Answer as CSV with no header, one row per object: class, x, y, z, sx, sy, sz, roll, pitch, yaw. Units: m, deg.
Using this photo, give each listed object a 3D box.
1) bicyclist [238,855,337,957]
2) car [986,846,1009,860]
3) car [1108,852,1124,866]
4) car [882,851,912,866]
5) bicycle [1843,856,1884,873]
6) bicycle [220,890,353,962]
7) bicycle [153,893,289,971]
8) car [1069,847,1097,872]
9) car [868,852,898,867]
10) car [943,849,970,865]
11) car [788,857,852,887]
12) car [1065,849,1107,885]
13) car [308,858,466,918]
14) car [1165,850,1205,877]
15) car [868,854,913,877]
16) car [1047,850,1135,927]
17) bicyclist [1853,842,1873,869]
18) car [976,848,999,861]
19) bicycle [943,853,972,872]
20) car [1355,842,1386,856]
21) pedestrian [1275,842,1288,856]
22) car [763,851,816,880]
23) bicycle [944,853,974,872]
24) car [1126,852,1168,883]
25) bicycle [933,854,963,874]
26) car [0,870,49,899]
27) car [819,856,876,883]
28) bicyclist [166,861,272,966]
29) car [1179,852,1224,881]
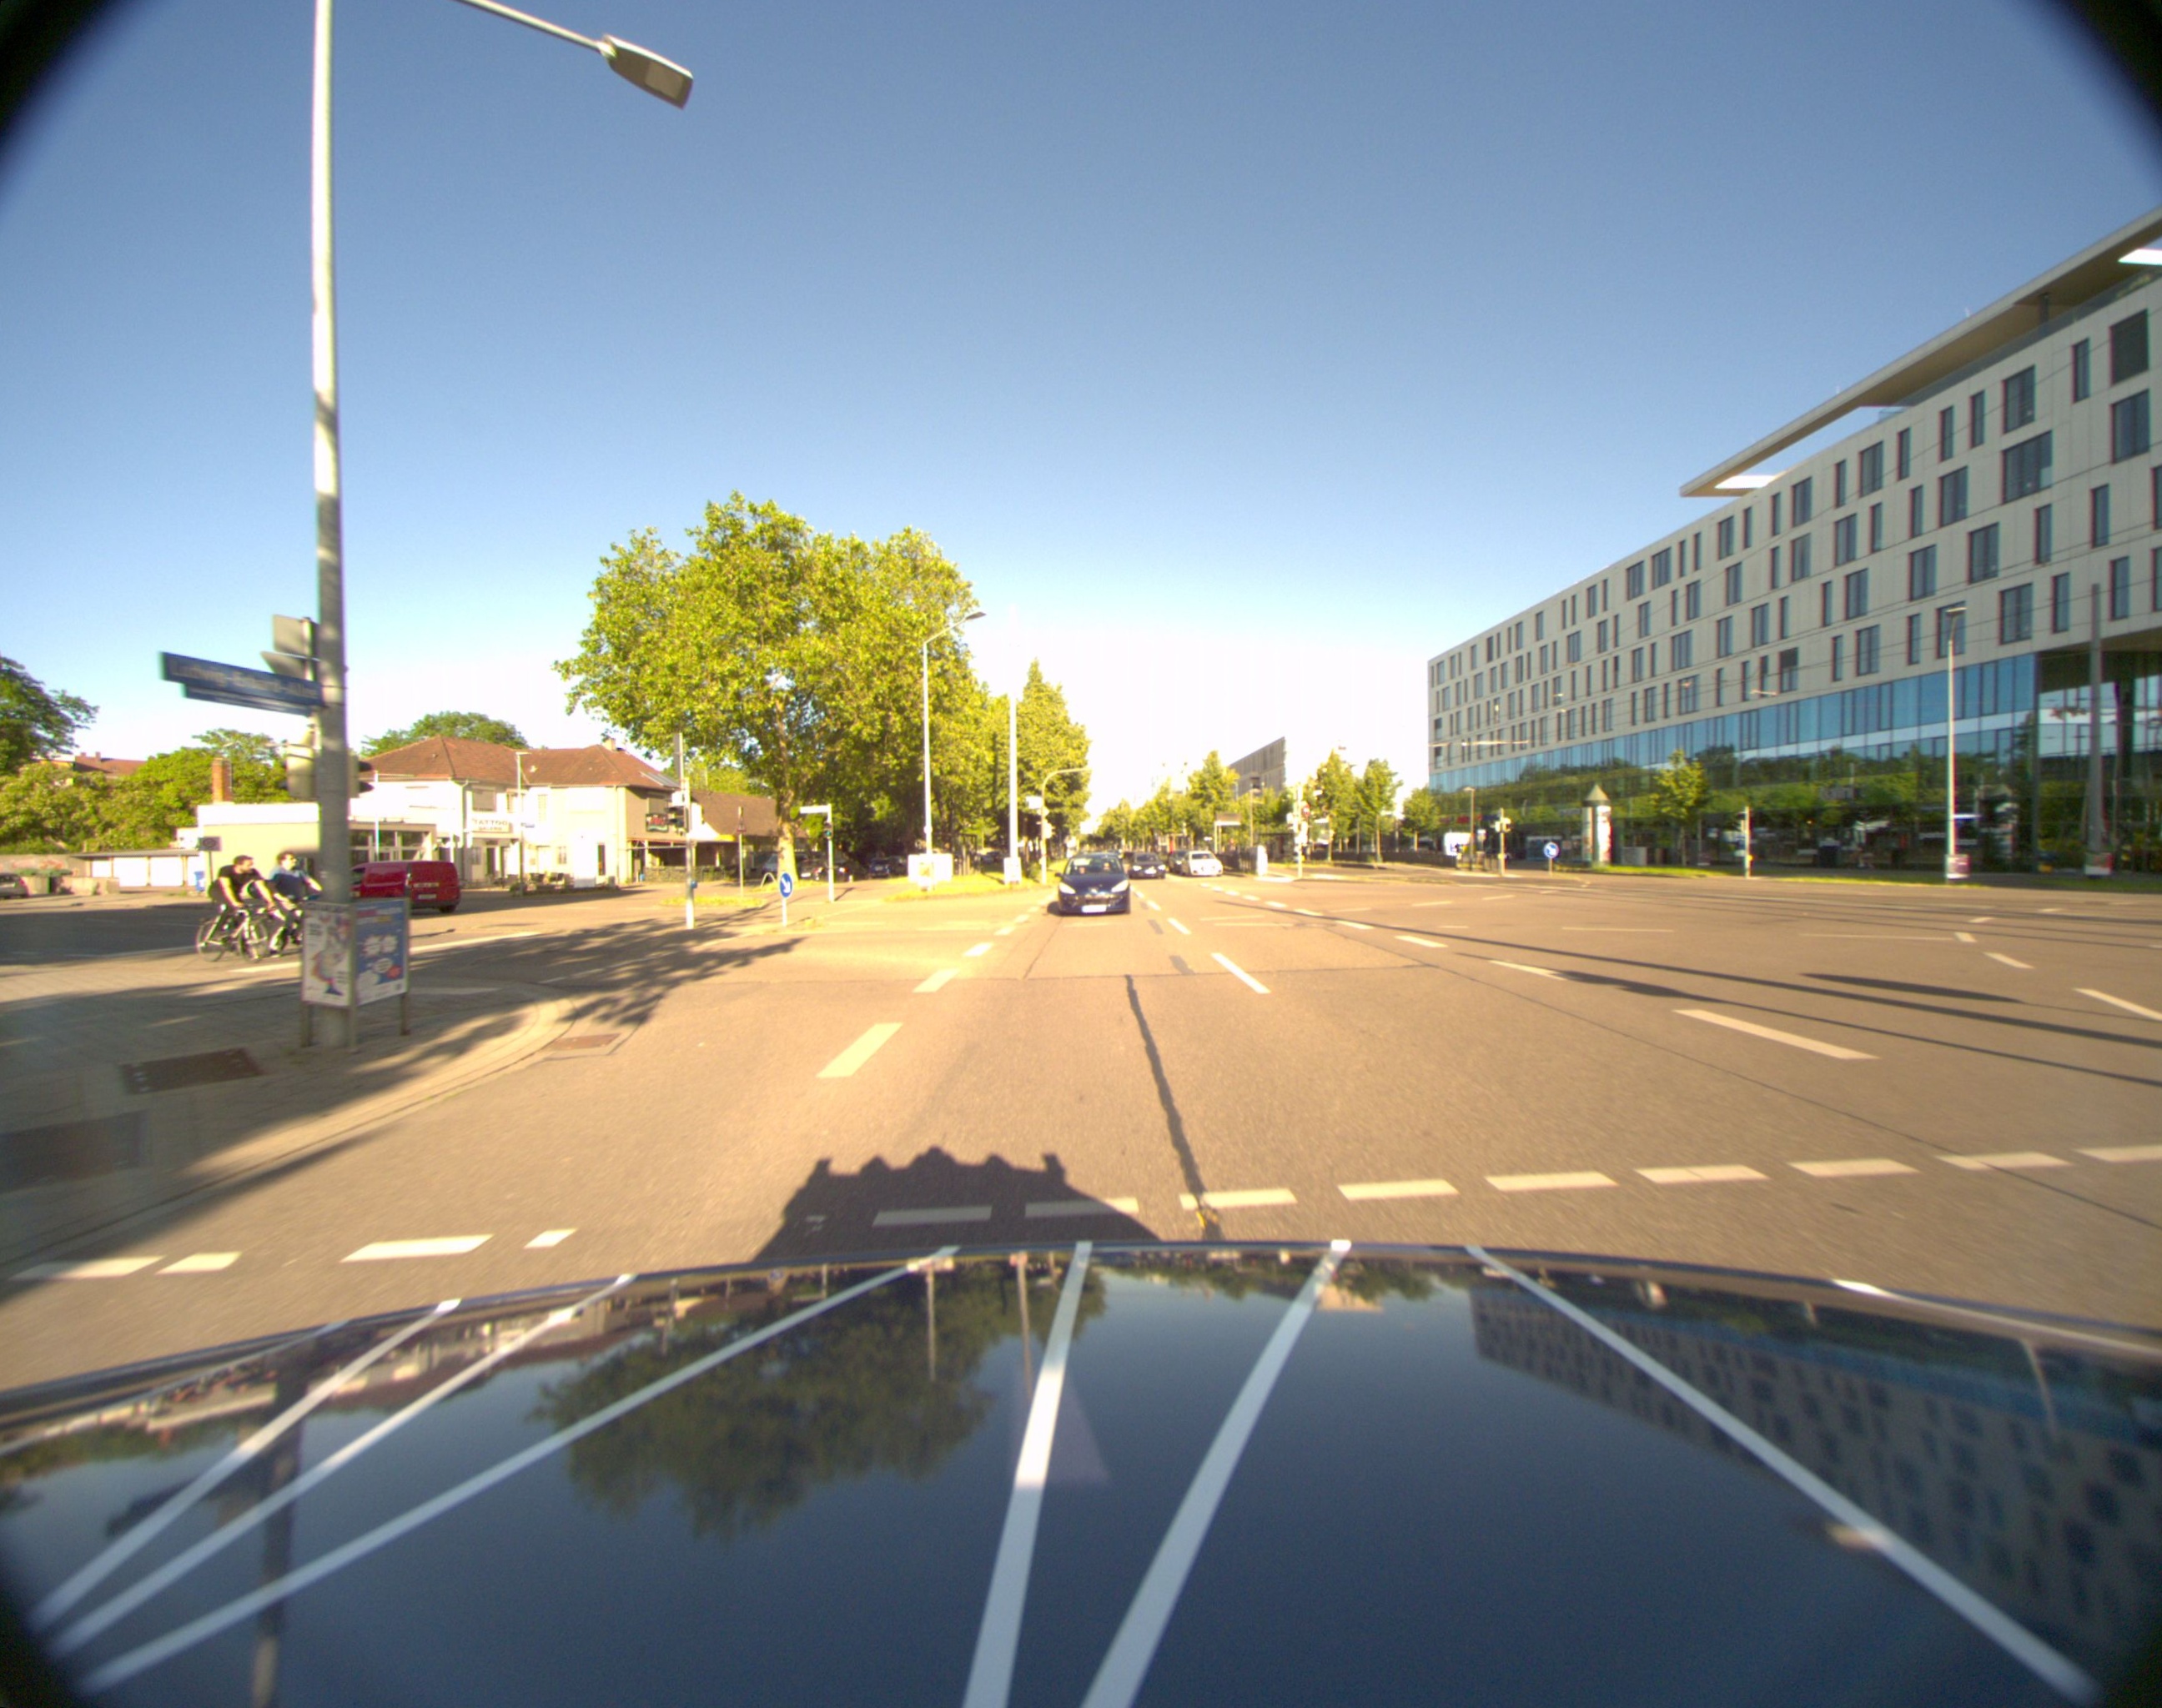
bicyclist,-13.950,0.887,13.370,0.876,1.727,0.833,-1,1,11
car,-10.759,-0.168,97.989,1.998,1.587,4.656,-2,1,5
car,4.104,0.563,89.893,1.675,1.418,4.005,-3,1,0
car,-20.714,0.467,85.815,1.998,1.520,4.655,-2,1,3
bicycle,41.572,0.540,40.389,0.482,0.858,1.692,-1,1,4
bicycle,-14.016,1.247,13.414,2.100,1.196,0.551,-1,1,11
bicycle,-14.125,1.261,12.479,2.100,1.196,0.552,-1,1,14
car,0.193,0.337,52.889,1.803,1.518,4.604,-3,1,1
car,-20.899,0.564,80.289,1.999,1.520,4.653,1,1,-1
car,-12.203,0.288,74.802,1.943,1.372,3.913,-2,1,1
car,-14.133,0.940,41.405,1.898,1.457,4.037,-2,1,2
car,0.303,0.565,36.998,1.803,1.518,4.605,-3,1,2
car,-22.590,1.104,24.777,4.106,1.803,1.857,-2,-1,15
car,6.722,0.584,49.408,1.803,1.518,4.342,-3,1,-2
car,-13.764,0.790,55.226,1.898,1.479,4.347,-2,1,4
car,0.318,0.727,18.445,1.803,1.518,4.605,-3,1,3
bicyclist,41.560,0.087,40.381,0.482,1.415,0.553,-1,1,4
car,-11.349,0.056,92.616,1.998,1.355,4.866,-2,1,2
bicycle,-7.856,0.560,48.424,1.700,1.162,0.551,-2,1,1
car,34.281,-0.594,90.101,1.803,1.518,4.342,-3,1,-2
pedestrian,20.333,-0.505,76.942,1.068,1.458,0.844,-2,1,4
car,-21.626,0.793,56.603,1.898,2.025,5.070,0,1,2
bicycle,-7.957,0.574,49.475,1.807,1.162,0.551,-2,1,3
car,3.584,0.712,42.027,1.803,1.518,4.342,-3,1,-2
bicycle,-8.057,0.586,46.059,1.699,1.162,0.551,-2,1,8
car,-58.675,1.656,41.317,3.991,1.457,2.003,-1,1,22
car,-14.017,0.907,45.882,1.898,1.403,4.346,-2,1,3
bicyclist,-14.105,0.949,12.453,0.876,1.644,0.794,-1,1,11
car,6.701,0.647,42.737,1.676,1.418,4.004,-3,1,-3
